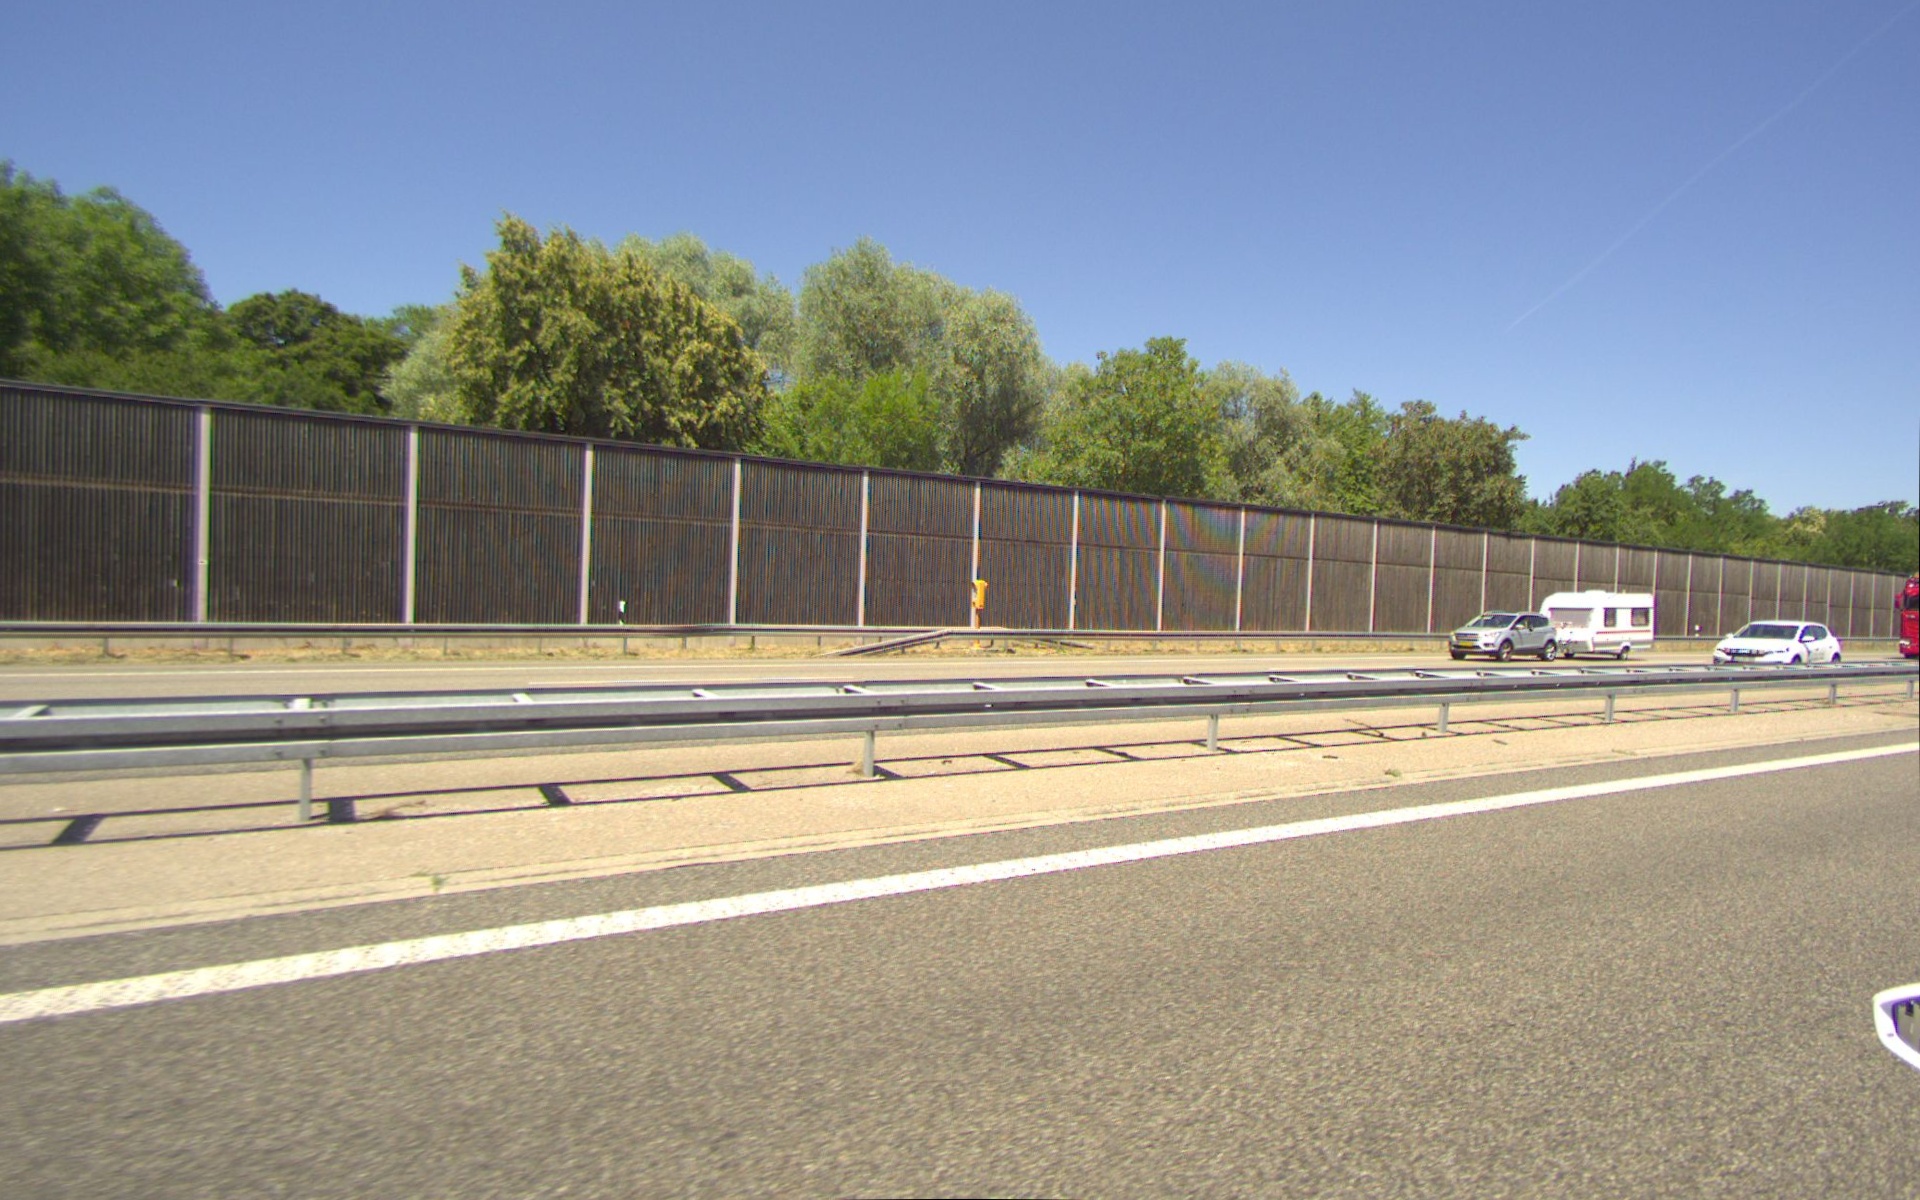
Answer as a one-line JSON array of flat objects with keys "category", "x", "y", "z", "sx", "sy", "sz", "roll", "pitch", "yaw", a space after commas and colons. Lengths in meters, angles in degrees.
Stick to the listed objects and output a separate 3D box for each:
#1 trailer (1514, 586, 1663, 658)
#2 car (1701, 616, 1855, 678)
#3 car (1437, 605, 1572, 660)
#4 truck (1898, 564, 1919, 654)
[{"category": "trailer", "x": 23.268, "y": 0.810, "z": 37.116, "sx": 6.198, "sy": 2.510, "sz": 2.119, "roll": 1, "pitch": 0, "yaw": -32}, {"category": "car", "x": 22.481, "y": 1.267, "z": 27.582, "sx": 4.368, "sy": 1.541, "sz": 1.889, "roll": 1, "pitch": 0, "yaw": -31}, {"category": "car", "x": 18.579, "y": 1.105, "z": 34.201, "sx": 4.851, "sy": 1.734, "sz": 1.889, "roll": 1, "pitch": 0, "yaw": -32}, {"category": "truck", "x": 47.250, "y": 0.502, "z": 47.472, "sx": 7.070, "sy": 4.130, "sz": 2.346, "roll": 2, "pitch": 0, "yaw": -31}]
